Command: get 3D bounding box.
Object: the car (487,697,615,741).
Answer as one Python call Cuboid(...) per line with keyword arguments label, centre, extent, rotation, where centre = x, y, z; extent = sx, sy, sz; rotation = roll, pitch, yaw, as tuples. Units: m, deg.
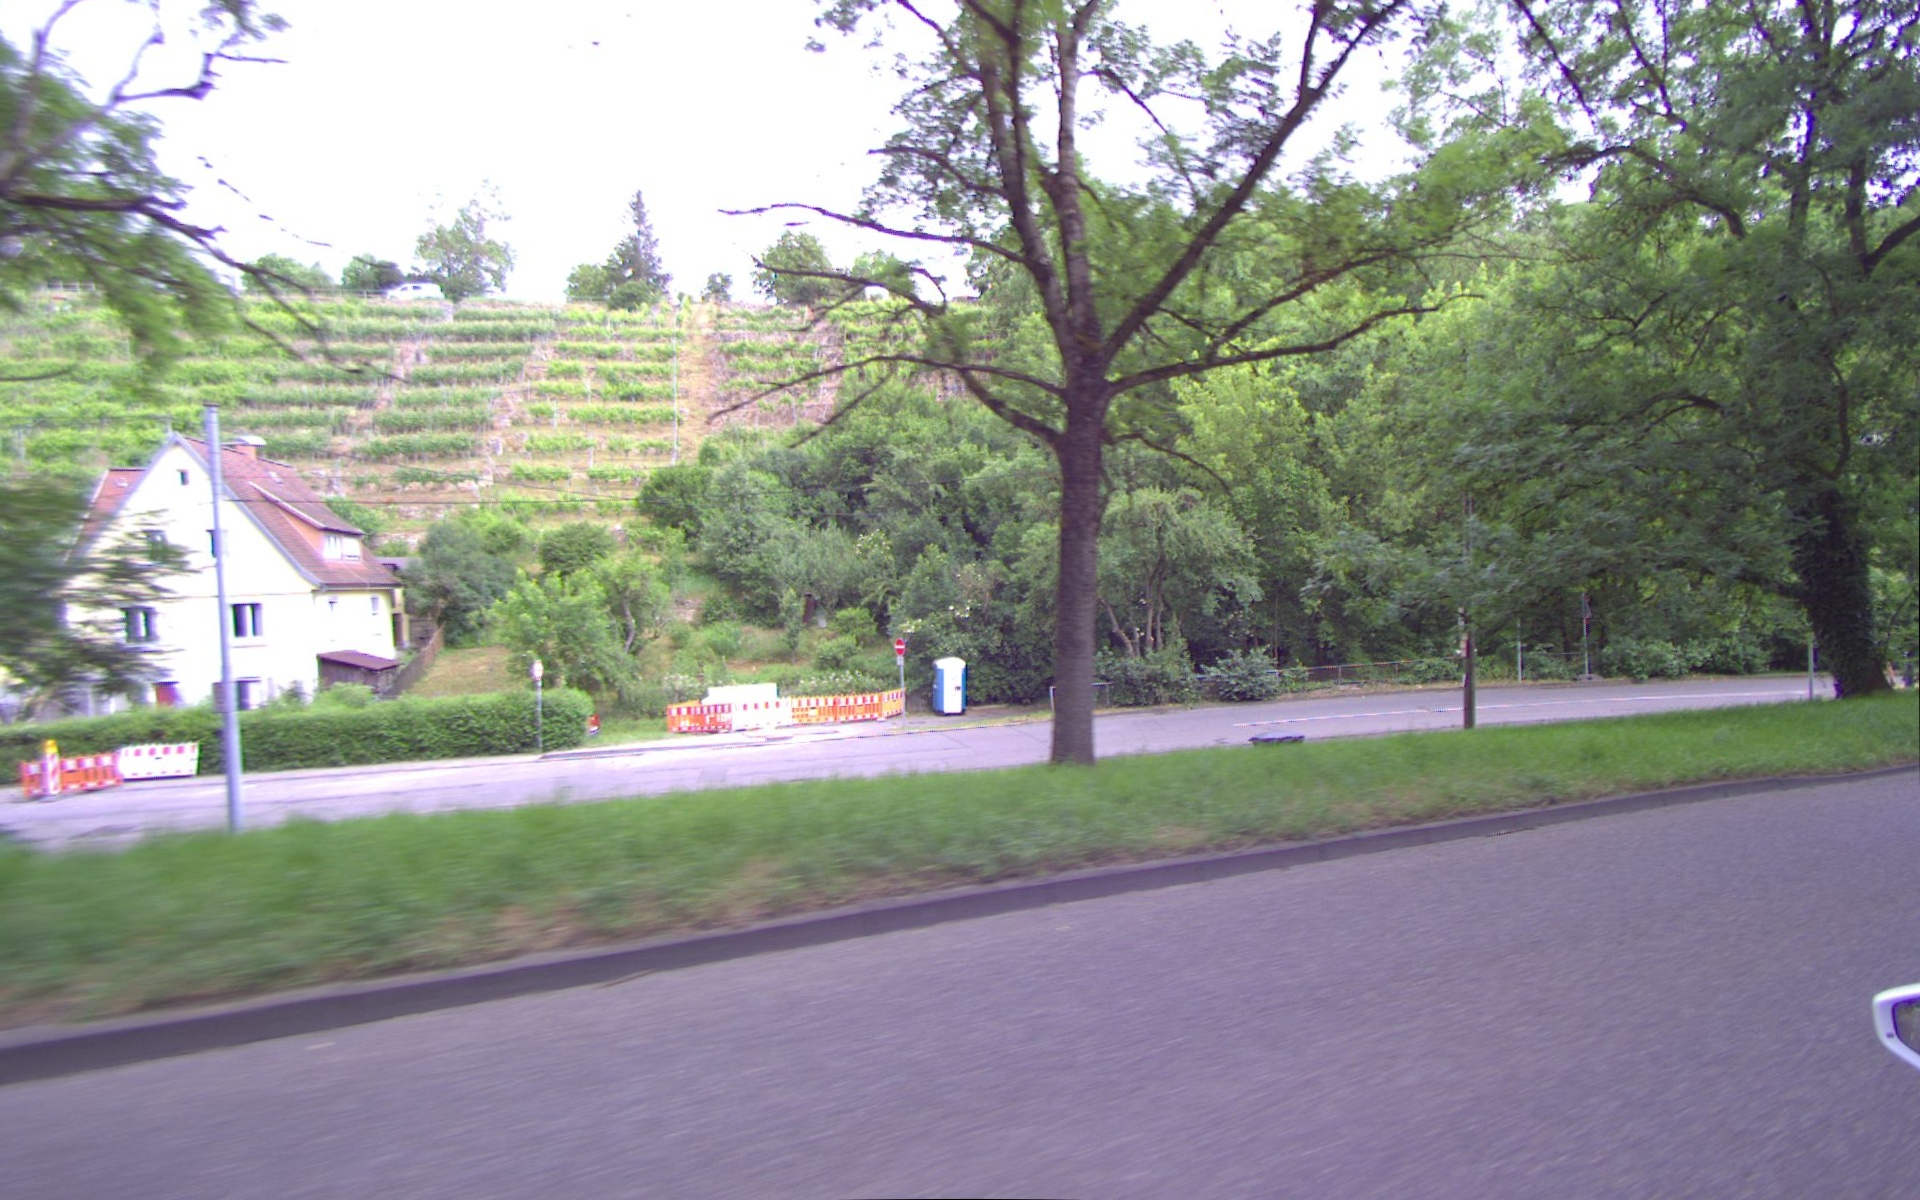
Cuboid(label="car", centre=(-14.657, 4.264, 36.099), extent=(3.919, 1.407, 1.759), rotation=(-3, -5, 11))
